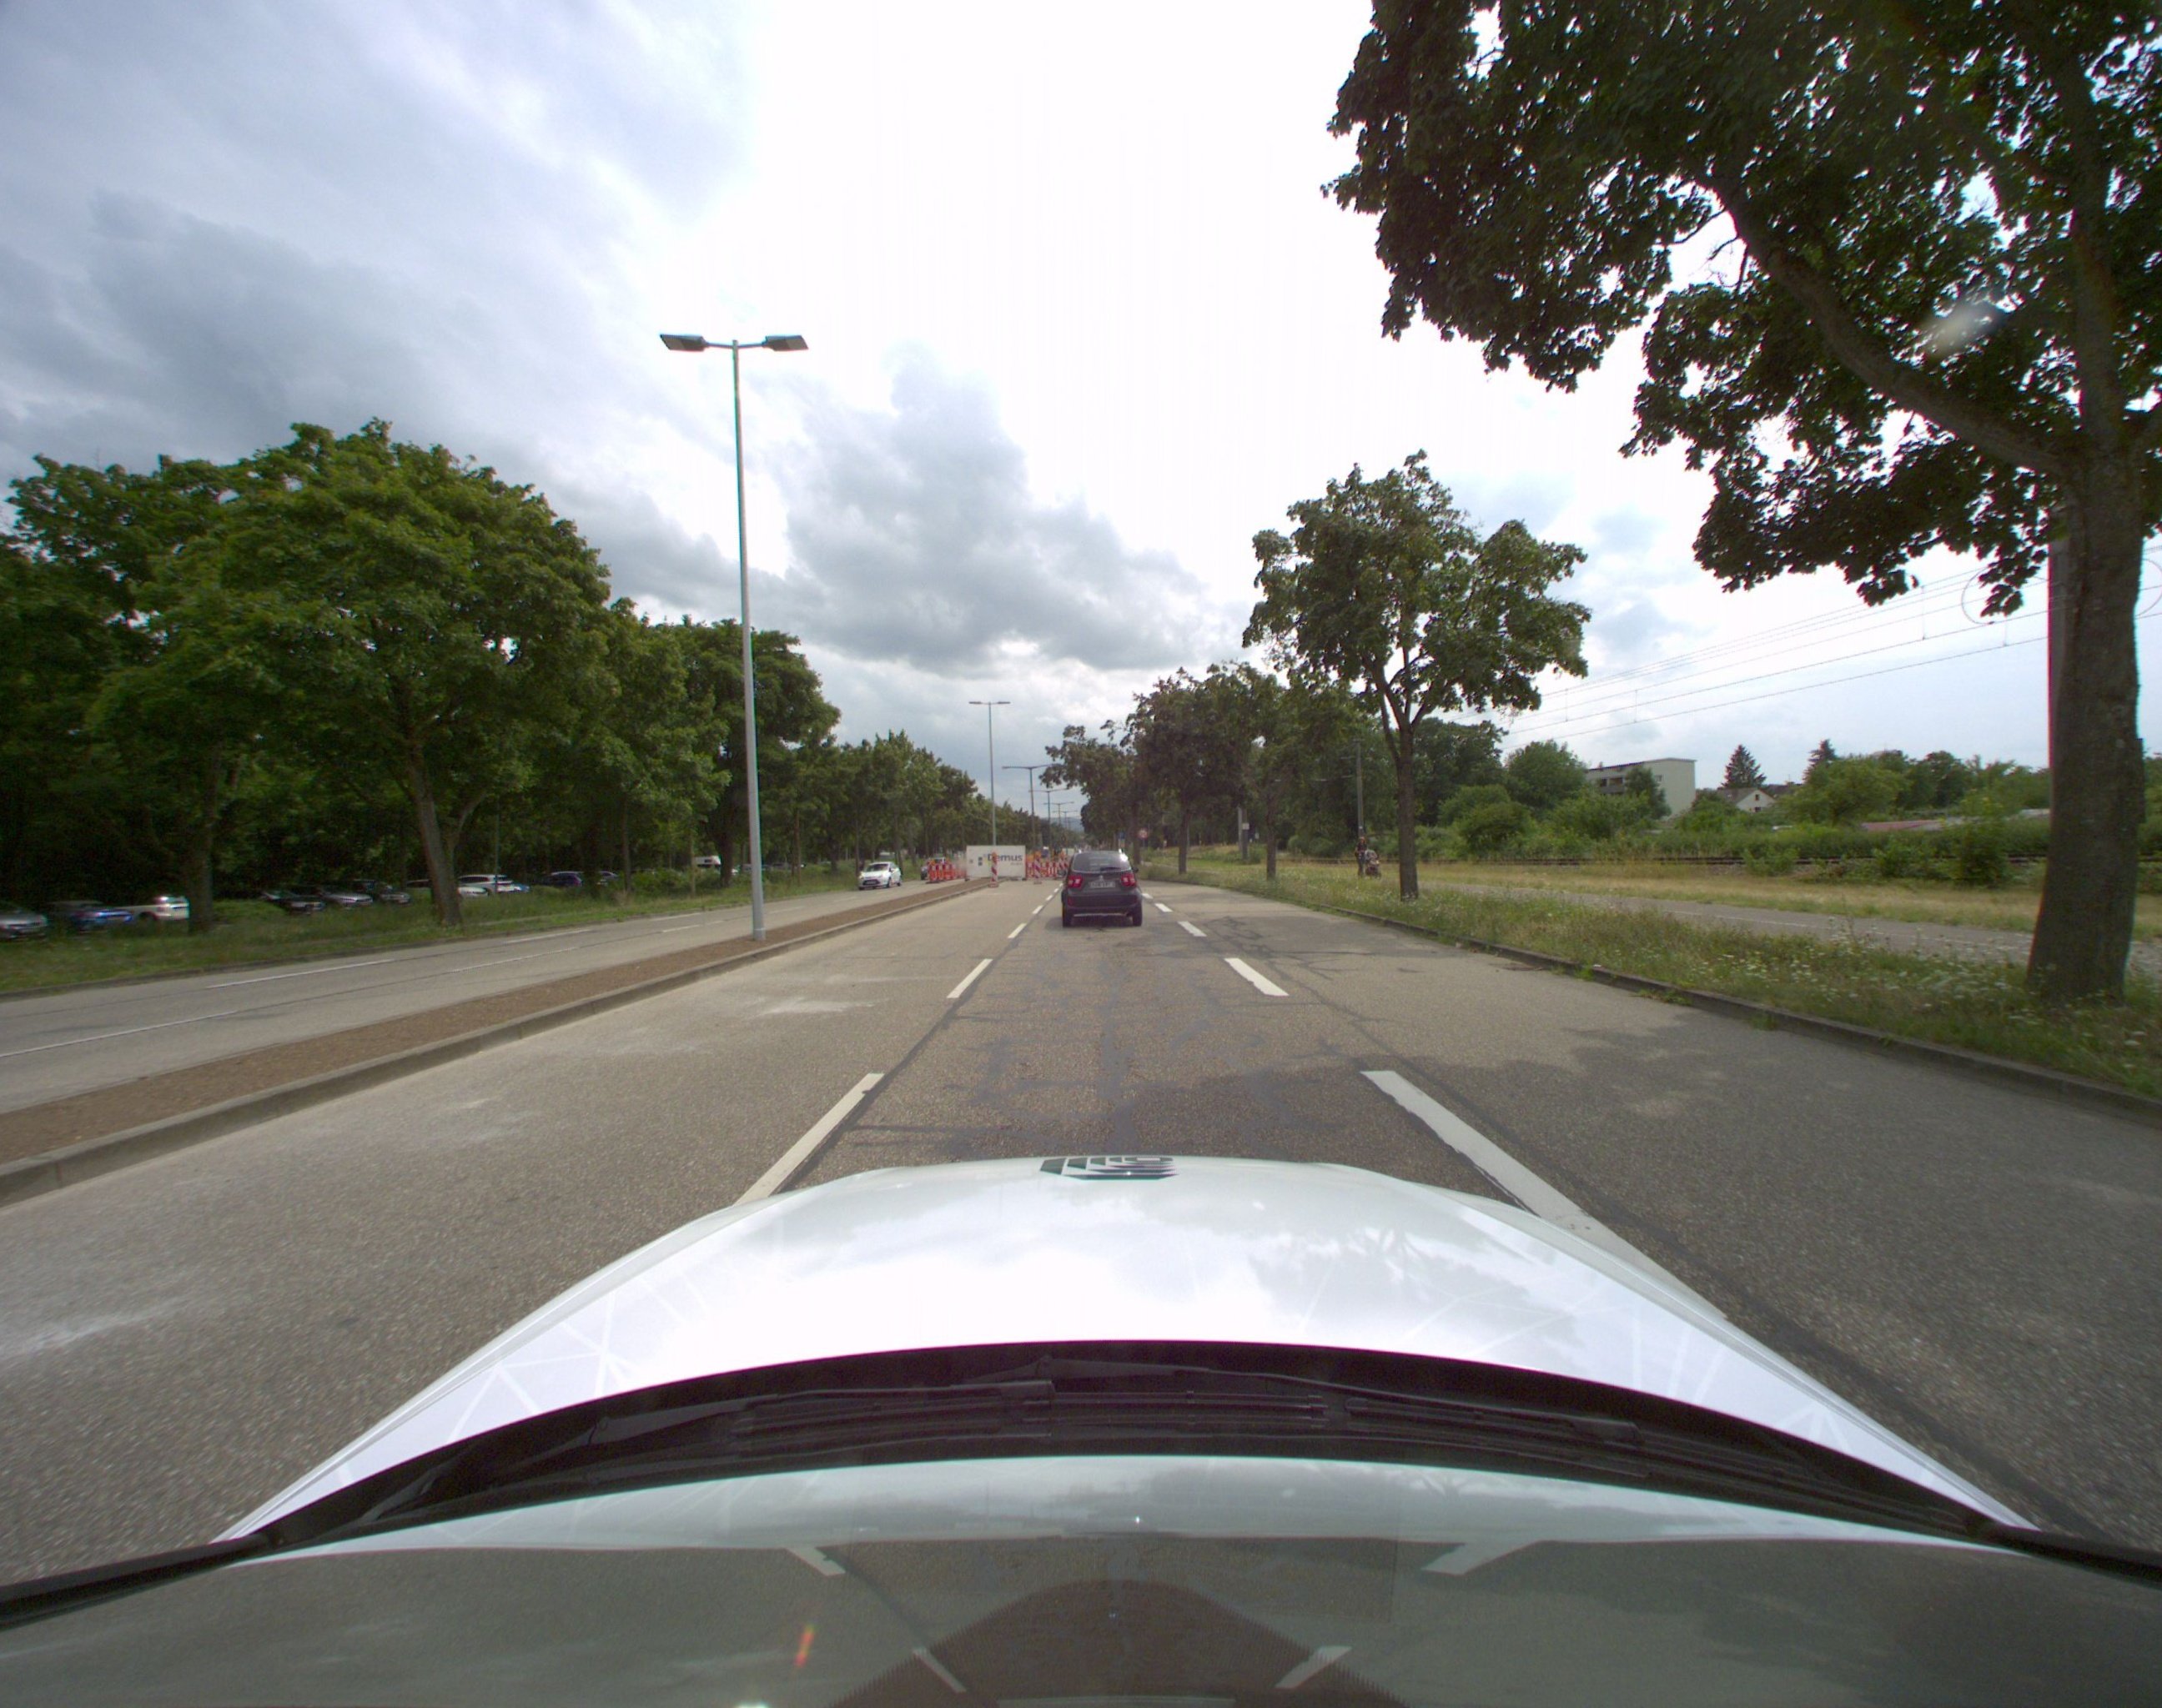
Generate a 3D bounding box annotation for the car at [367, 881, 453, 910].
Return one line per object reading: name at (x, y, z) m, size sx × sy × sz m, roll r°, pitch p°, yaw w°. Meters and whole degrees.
car at (-37.969, 2.349, 46.124) m, size 3.633 × 1.411 × 1.519 m, roll -2°, pitch 0°, yaw 3°

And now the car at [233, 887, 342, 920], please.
car at (-38.019, 2.362, 39.069) m, size 3.630 × 1.360 × 1.710 m, roll -2°, pitch 0°, yaw 3°

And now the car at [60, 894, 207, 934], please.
car at (-38.865, 2.444, 33.464) m, size 3.970 × 1.360 × 1.824 m, roll -2°, pitch 0°, yaw 3°

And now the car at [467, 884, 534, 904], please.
car at (-38.248, 2.604, 53.701) m, size 3.353 × 1.112 × 1.442 m, roll -2°, pitch 0°, yaw 2°

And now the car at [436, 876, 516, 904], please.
car at (-38.075, 2.268, 51.326) m, size 3.633 × 1.519 × 1.884 m, roll -2°, pitch 0°, yaw 3°

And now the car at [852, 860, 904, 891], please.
car at (-11.095, 1.148, 44.733) m, size 1.684 × 1.477 × 4.001 m, roll -3°, pitch 1°, yaw 1°

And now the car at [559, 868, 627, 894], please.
car at (-37.961, 2.105, 63.428) m, size 3.970 × 1.782 × 2.002 m, roll -2°, pitch 0°, yaw 3°

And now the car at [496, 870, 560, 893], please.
car at (-38.067, 1.890, 56.084) m, size 3.535 × 1.411 × 1.323 m, roll -2°, pitch 0°, yaw 3°

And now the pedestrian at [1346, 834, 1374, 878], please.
pedestrian at (11.078, 0.073, 32.345) m, size 0.689 × 1.695 × 0.933 m, roll -2°, pitch 0°, yaw -3°

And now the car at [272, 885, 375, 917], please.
car at (-38.127, 2.356, 41.062) m, size 3.630 × 1.360 × 1.710 m, roll -2°, pitch 0°, yaw 3°

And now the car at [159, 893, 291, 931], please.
car at (-38.119, 2.581, 36.331) m, size 3.967 × 1.410 × 2.004 m, roll -2°, pitch 0°, yaw 6°

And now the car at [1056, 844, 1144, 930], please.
car at (0.390, 0.641, 18.154) m, size 1.698 × 1.668 × 4.000 m, roll -2°, pitch 0°, yaw 0°

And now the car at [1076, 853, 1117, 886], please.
car at (0.693, 0.704, 39.654) m, size 1.762 × 1.464 × 3.997 m, roll -2°, pitch 1°, yaw -2°

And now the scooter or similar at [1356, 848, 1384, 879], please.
scooter or similar at (11.138, 0.355, 31.410) m, size 0.680 × 1.130 × 0.933 m, roll -2°, pitch 0°, yaw -4°

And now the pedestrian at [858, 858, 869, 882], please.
pedestrian at (-16.918, 1.255, 63.373) m, size 0.693 × 1.838 × 0.647 m, roll -2°, pitch 0°, yaw -21°

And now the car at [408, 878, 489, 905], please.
car at (-37.771, 2.212, 48.665) m, size 3.633 × 1.411 × 1.519 m, roll -2°, pitch 0°, yaw 3°

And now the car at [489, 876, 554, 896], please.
car at (-37.597, 2.152, 54.803) m, size 3.353 × 1.128 × 1.442 m, roll -2°, pitch 0°, yaw 2°

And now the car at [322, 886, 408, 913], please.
car at (-38.003, 2.412, 43.272) m, size 3.280 × 1.206 × 1.519 m, roll -2°, pitch 0°, yaw 3°

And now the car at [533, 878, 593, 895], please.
car at (-37.259, 2.338, 58.579) m, size 3.353 × 1.094 × 1.442 m, roll -2°, pitch 0°, yaw 2°

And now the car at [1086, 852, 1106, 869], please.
car at (1.473, 0.594, 78.316) m, size 1.786 × 1.562 × 4.003 m, roll -2°, pitch 1°, yaw 3°

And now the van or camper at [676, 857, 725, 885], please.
van or camper at (-39.225, 1.720, 83.982) m, size 3.973 × 2.756 × 1.927 m, roll -2°, pitch 0°, yaw 1°

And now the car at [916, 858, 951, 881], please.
car at (-10.632, 1.073, 59.029) m, size 1.698 × 1.477 × 4.001 m, roll -3°, pitch 1°, yaw 1°

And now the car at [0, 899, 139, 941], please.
car at (-38.530, 2.486, 30.792) m, size 3.970 × 1.360 × 1.669 m, roll -2°, pitch 0°, yaw 3°

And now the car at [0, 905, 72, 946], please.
car at (-38.186, 2.535, 28.455) m, size 3.969 × 1.238 × 1.669 m, roll -2°, pitch 0°, yaw 4°
